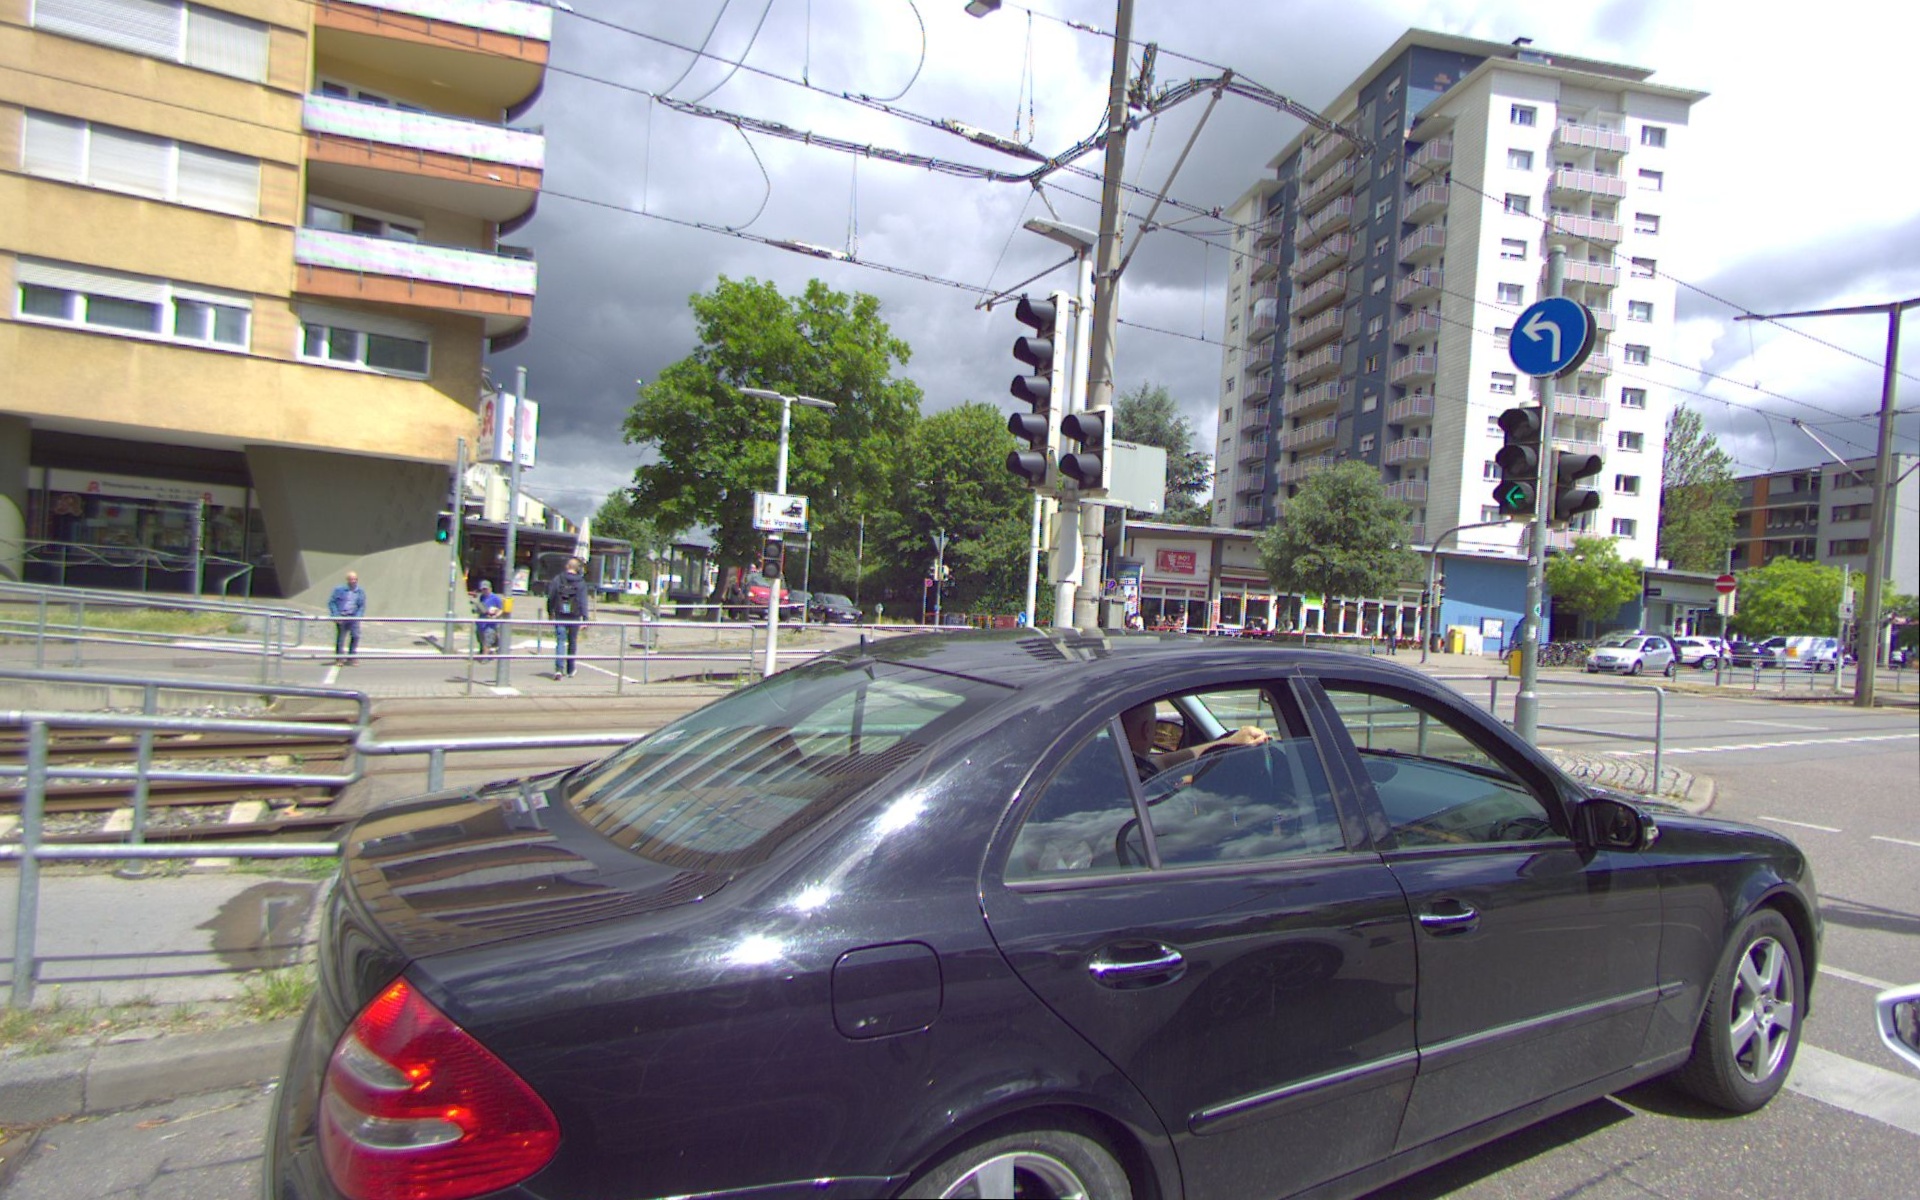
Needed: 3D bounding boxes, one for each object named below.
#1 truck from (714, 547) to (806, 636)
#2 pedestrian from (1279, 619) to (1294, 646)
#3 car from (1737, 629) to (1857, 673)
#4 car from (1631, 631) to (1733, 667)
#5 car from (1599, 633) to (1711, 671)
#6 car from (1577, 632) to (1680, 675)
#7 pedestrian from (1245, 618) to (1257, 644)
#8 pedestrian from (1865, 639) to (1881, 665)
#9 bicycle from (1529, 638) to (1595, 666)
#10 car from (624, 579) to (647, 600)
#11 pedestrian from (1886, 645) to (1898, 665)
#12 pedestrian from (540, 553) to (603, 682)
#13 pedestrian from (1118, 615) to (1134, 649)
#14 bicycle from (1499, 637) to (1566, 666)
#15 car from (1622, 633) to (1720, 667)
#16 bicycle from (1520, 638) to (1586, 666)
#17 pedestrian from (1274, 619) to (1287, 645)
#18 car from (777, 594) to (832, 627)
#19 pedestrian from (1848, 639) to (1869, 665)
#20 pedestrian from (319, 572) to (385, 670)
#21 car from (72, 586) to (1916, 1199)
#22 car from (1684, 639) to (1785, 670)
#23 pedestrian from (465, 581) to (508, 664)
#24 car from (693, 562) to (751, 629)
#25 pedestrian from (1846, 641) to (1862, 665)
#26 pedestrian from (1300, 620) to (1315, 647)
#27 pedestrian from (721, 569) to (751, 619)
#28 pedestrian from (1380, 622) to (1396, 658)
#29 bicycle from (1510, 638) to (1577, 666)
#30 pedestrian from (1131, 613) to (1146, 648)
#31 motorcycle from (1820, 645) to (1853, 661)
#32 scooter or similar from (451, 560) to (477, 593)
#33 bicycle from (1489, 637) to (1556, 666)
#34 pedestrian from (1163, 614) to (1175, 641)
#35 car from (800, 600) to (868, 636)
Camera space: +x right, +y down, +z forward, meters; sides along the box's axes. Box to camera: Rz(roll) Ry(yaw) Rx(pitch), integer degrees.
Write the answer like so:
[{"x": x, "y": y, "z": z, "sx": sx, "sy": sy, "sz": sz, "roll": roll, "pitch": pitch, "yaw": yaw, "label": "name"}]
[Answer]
[{"x": -9.301, "y": -0.360, "z": 46.188, "sx": 2.512, "sy": 3.723, "sz": 7.057, "roll": 2, "pitch": 0, "yaw": -24, "label": "truck"}, {"x": 18.377, "y": 1.824, "z": 56.484, "sx": 0.565, "sy": 1.492, "sz": 0.522, "roll": 2, "pitch": 0, "yaw": -28, "label": "pedestrian"}, {"x": 46.507, "y": 2.788, "z": 55.911, "sx": 4.666, "sy": 2.185, "sz": 1.907, "roll": 2, "pitch": 0, "yaw": 17, "label": "car"}, {"x": 38.136, "y": 2.563, "z": 53.158, "sx": 3.919, "sy": 1.653, "sz": 1.908, "roll": 2, "pitch": 0, "yaw": 12, "label": "car"}, {"x": 33.278, "y": 2.468, "z": 48.183, "sx": 3.919, "sy": 1.612, "sz": 1.934, "roll": 2, "pitch": 0, "yaw": 11, "label": "car"}, {"x": 26.200, "y": 2.107, "z": 39.369, "sx": 3.708, "sy": 1.553, "sz": 1.811, "roll": 2, "pitch": 0, "yaw": -28, "label": "car"}, {"x": 16.724, "y": 1.771, "z": 57.726, "sx": 0.515, "sy": 1.492, "sz": 0.572, "roll": 2, "pitch": 0, "yaw": 1, "label": "pedestrian"}, {"x": 65.075, "y": 3.712, "z": 71.623, "sx": 0.834, "sy": 1.816, "sz": 0.607, "roll": 2, "pitch": 0, "yaw": -33, "label": "pedestrian"}, {"x": 26.191, "y": 2.260, "z": 43.762, "sx": 0.697, "sy": 1.080, "sz": 2.415, "roll": 2, "pitch": 0, "yaw": -30, "label": "bicycle"}, {"x": -34.451, "y": -1.072, "z": 106.494, "sx": 1.971, "sy": 2.124, "sz": 4.712, "roll": 2, "pitch": 0, "yaw": -22, "label": "car"}, {"x": 70.070, "y": 4.137, "z": 75.508, "sx": 0.490, "sy": 1.479, "sz": 0.559, "roll": 2, "pitch": 0, "yaw": 30, "label": "pedestrian"}, {"x": -6.156, "y": 0.273, "z": 15.892, "sx": 0.841, "sy": 1.960, "sz": 0.916, "roll": 2, "pitch": 0, "yaw": -23, "label": "pedestrian"}, {"x": 7.300, "y": 1.397, "z": 44.130, "sx": 0.516, "sy": 1.492, "sz": 0.572, "roll": 2, "pitch": 0, "yaw": -5, "label": "pedestrian"}, {"x": 24.189, "y": 2.173, "z": 42.484, "sx": 0.697, "sy": 1.080, "sz": 2.415, "roll": 2, "pitch": 0, "yaw": -30, "label": "bicycle"}, {"x": 36.263, "y": 2.519, "z": 51.297, "sx": 3.691, "sy": 1.516, "sz": 1.748, "roll": 2, "pitch": 0, "yaw": 19, "label": "car"}, {"x": 25.563, "y": 2.232, "z": 43.339, "sx": 0.697, "sy": 1.080, "sz": 2.415, "roll": 2, "pitch": 0, "yaw": -30, "label": "bicycle"}, {"x": 18.478, "y": 1.839, "z": 57.902, "sx": 0.516, "sy": 1.492, "sz": 0.572, "roll": 2, "pitch": 0, "yaw": -2, "label": "pedestrian"}, {"x": -8.182, "y": 0.526, "z": 52.480, "sx": 1.971, "sy": 1.623, "sz": 3.979, "roll": 2, "pitch": 0, "yaw": -22, "label": "car"}, {"x": 59.528, "y": 3.462, "z": 66.544, "sx": 0.607, "sy": 1.672, "sz": 0.835, "roll": 2, "pitch": 1, "yaw": -35, "label": "pedestrian"}, {"x": -10.649, "y": 0.366, "z": 17.580, "sx": 0.902, "sy": 1.619, "sz": 0.714, "roll": 2, "pitch": 5, "yaw": -34, "label": "pedestrian"}, {"x": 0.640, "y": 0.768, "z": 3.017, "sx": 4.619, "sy": 1.417, "sz": 1.962, "roll": 2, "pitch": 0, "yaw": -29, "label": "car"}, {"x": 42.054, "y": 2.933, "z": 54.636, "sx": 3.920, "sy": 1.402, "sz": 1.907, "roll": 2, "pitch": 0, "yaw": 17, "label": "car"}, {"x": -8.992, "y": 0.423, "z": 19.087, "sx": 0.641, "sy": 1.533, "sz": 0.715, "roll": 2, "pitch": 0, "yaw": -30, "label": "pedestrian"}, {"x": -12.796, "y": -0.247, "z": 53.725, "sx": 1.971, "sy": 3.343, "sz": 6.270, "roll": 2, "pitch": 0, "yaw": -22, "label": "car"}, {"x": 62.097, "y": 3.665, "z": 69.760, "sx": 0.654, "sy": 1.594, "sz": 0.687, "roll": 2, "pitch": 0, "yaw": 30, "label": "pedestrian"}, {"x": 19.585, "y": 1.871, "z": 56.546, "sx": 0.565, "sy": 1.492, "sz": 0.522, "roll": 2, "pitch": 0, "yaw": -28, "label": "pedestrian"}, {"x": -8.471, "y": -0.232, "z": 37.997, "sx": 0.873, "sy": 1.835, "sz": 0.641, "roll": 2, "pitch": 0, "yaw": 33, "label": "pedestrian"}, {"x": 20.376, "y": 1.916, "z": 47.806, "sx": 0.594, "sy": 1.665, "sz": 0.414, "roll": 2, "pitch": 0, "yaw": -34, "label": "pedestrian"}, {"x": 24.934, "y": 2.205, "z": 42.952, "sx": 0.697, "sy": 1.080, "sz": 2.415, "roll": 2, "pitch": 0, "yaw": -30, "label": "bicycle"}, {"x": 7.743, "y": 1.316, "z": 43.580, "sx": 0.516, "sy": 1.492, "sz": 0.518, "roll": 2, "pitch": 0, "yaw": -5, "label": "pedestrian"}, {"x": 70.490, "y": 4.238, "z": 80.812, "sx": 0.734, "sy": 1.194, "sz": 1.880, "roll": 2, "pitch": 0, "yaw": -34, "label": "motorcycle"}, {"x": -17.270, "y": -0.819, "z": 34.959, "sx": 0.540, "sy": 1.108, "sz": 1.736, "roll": 2, "pitch": 0, "yaw": -34, "label": "scooter or similar"}, {"x": 23.515, "y": 2.144, "z": 42.073, "sx": 0.697, "sy": 1.080, "sz": 2.415, "roll": 2, "pitch": 0, "yaw": -30, "label": "bicycle"}, {"x": 12.030, "y": 1.583, "z": 57.799, "sx": 0.515, "sy": 1.492, "sz": 0.572, "roll": 2, "pitch": 0, "yaw": 1, "label": "pedestrian"}, {"x": -5.805, "y": 0.789, "z": 45.829, "sx": 1.973, "sy": 1.514, "sz": 3.976, "roll": 2, "pitch": 0, "yaw": -24, "label": "car"}]
